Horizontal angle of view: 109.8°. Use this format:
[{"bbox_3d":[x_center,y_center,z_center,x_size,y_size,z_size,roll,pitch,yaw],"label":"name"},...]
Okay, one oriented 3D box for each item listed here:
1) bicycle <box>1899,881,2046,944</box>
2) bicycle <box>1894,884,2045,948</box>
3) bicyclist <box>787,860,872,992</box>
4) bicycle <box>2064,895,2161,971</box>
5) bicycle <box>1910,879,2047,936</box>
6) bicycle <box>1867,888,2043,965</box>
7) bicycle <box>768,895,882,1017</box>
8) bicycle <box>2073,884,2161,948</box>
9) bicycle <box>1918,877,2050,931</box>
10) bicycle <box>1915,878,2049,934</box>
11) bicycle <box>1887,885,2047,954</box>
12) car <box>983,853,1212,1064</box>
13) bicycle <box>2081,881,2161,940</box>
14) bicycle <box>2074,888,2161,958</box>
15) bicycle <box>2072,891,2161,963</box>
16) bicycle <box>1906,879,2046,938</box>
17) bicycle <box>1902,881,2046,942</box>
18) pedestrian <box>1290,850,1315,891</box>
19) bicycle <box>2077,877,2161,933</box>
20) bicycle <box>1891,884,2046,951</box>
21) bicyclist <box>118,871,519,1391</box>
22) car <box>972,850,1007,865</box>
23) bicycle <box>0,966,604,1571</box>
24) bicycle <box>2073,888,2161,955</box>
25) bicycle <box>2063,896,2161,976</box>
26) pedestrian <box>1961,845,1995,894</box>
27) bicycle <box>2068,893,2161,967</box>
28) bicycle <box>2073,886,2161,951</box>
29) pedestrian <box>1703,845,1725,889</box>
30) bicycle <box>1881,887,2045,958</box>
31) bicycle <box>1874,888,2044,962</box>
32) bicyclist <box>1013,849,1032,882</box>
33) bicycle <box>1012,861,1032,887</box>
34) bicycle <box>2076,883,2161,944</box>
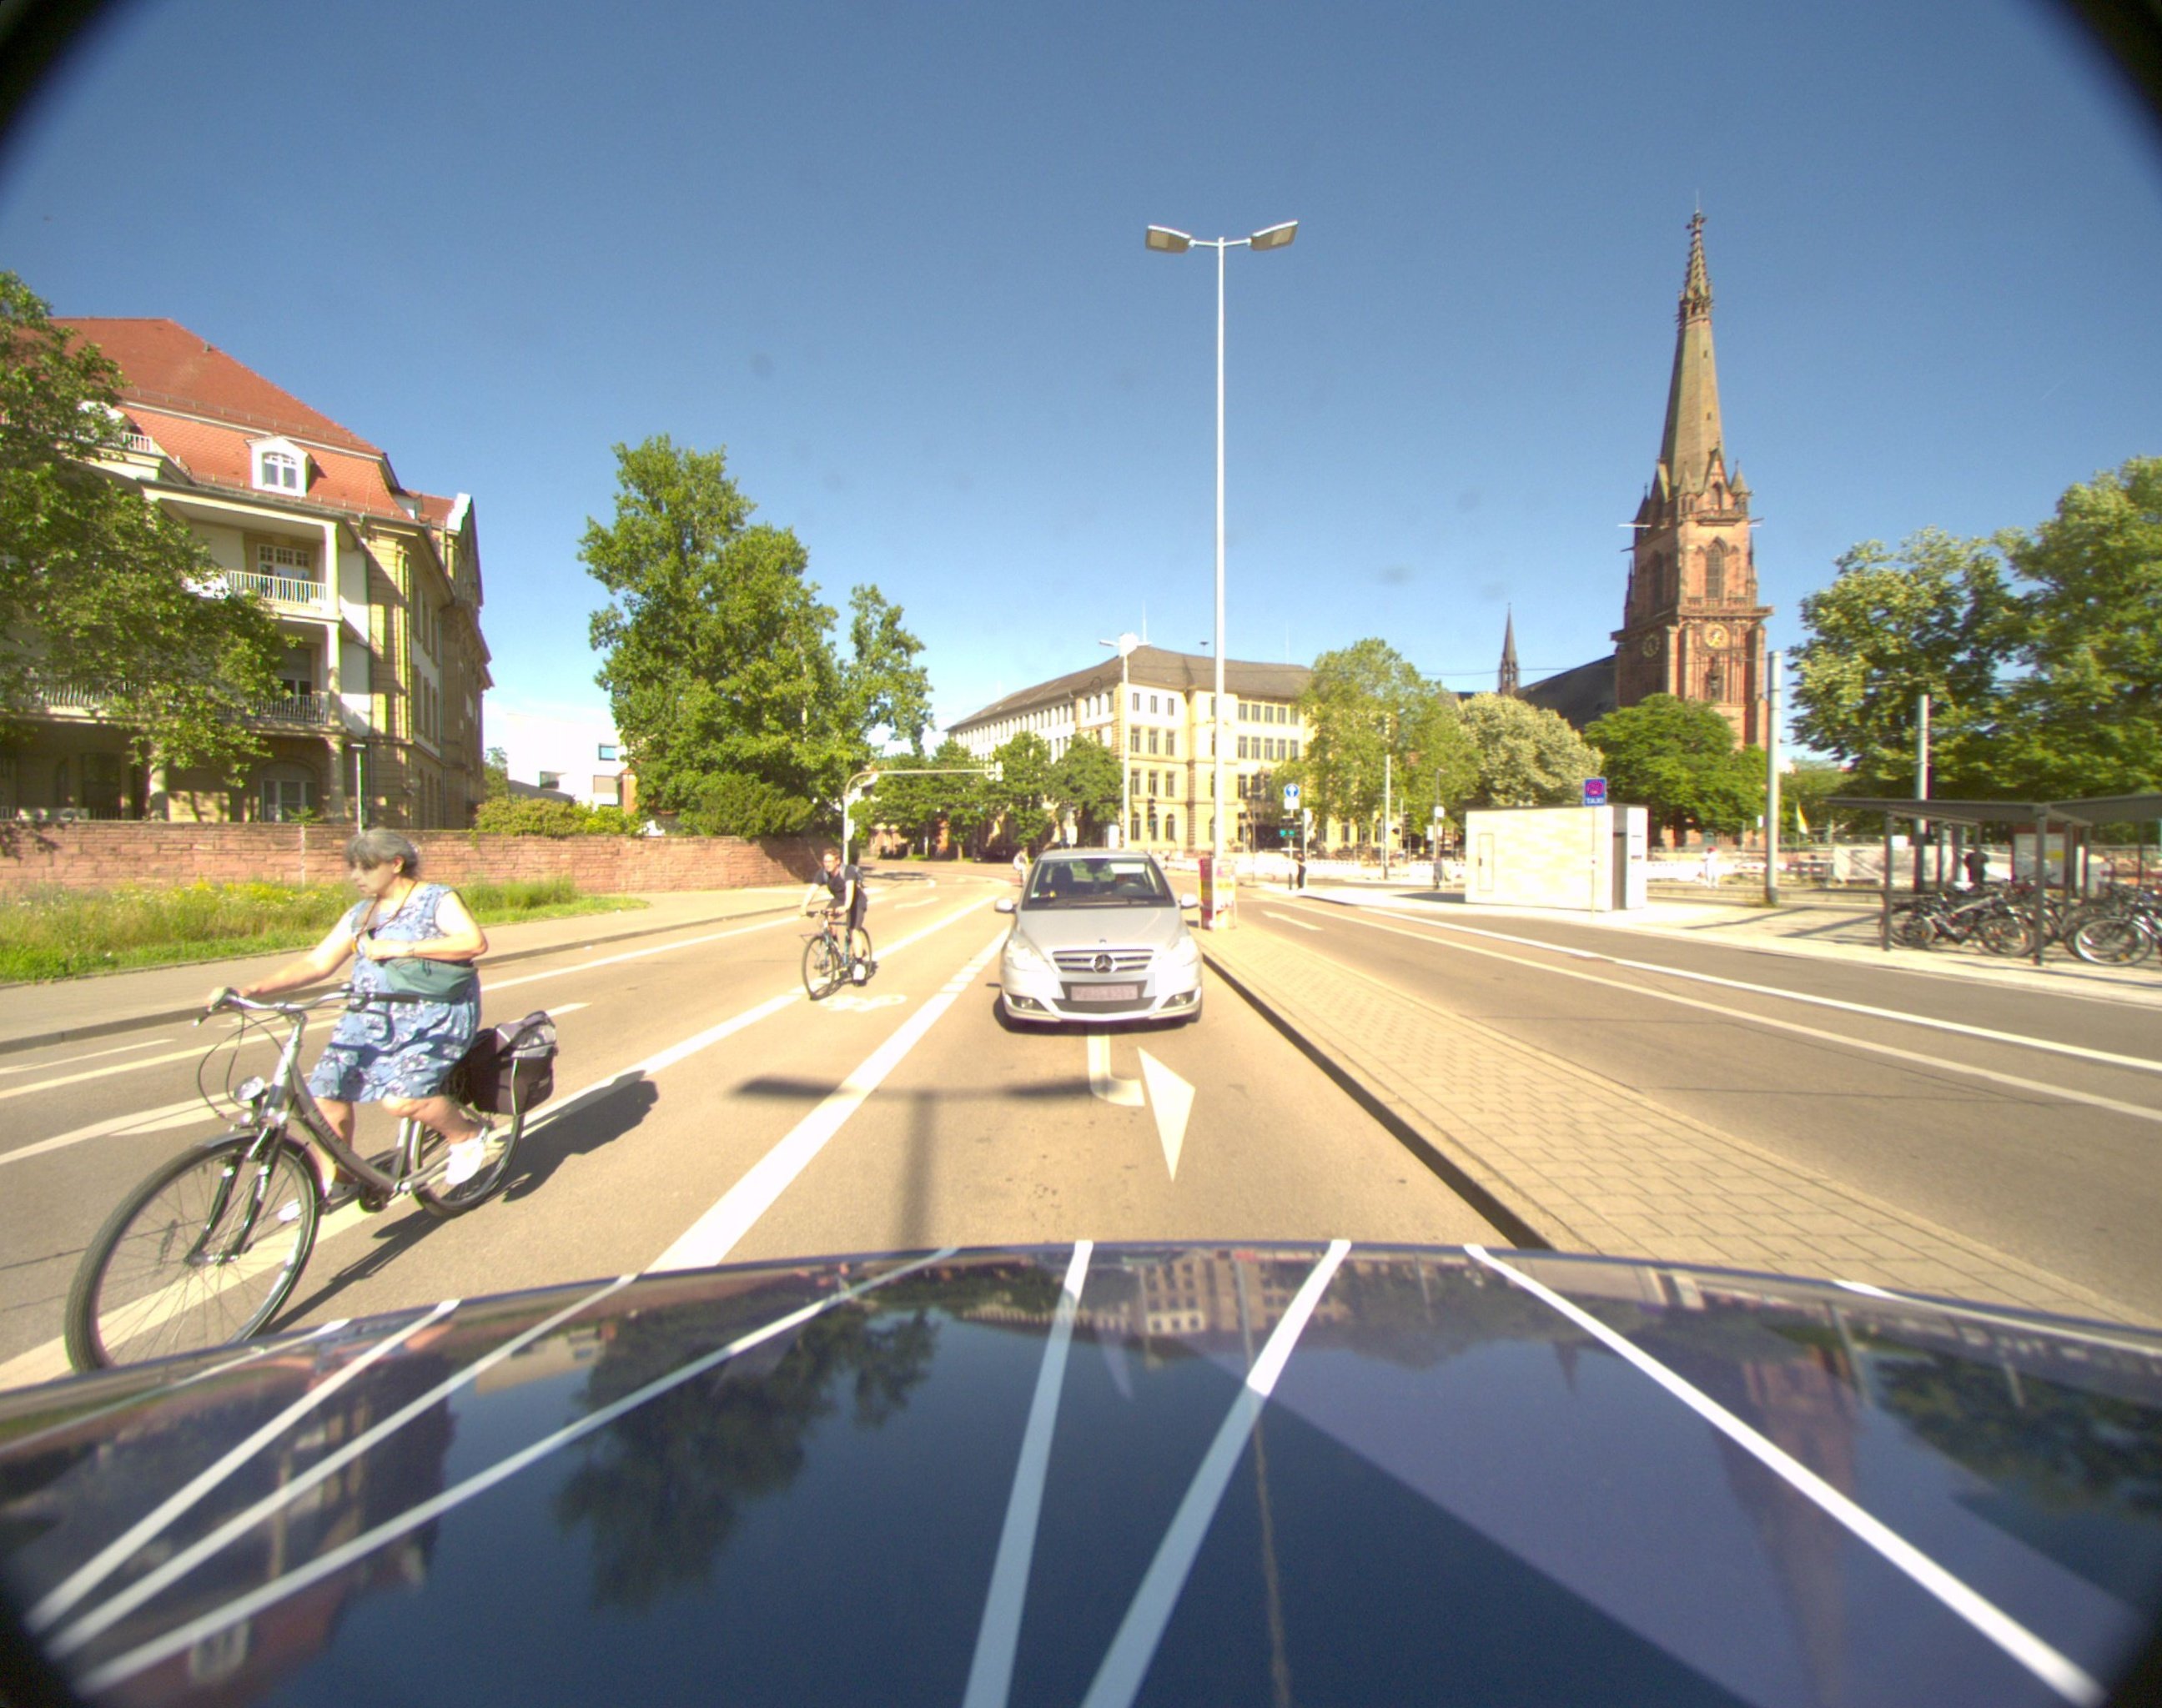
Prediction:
[{"bbox_3d":[17.133,1.091,14.652,0.569,1.032,1.783,0,1,-37],"label":"bicycle"},{"bbox_3d":[16.641,1.129,14.276,0.569,1.032,1.783,0,1,-37],"label":"bicycle"},{"bbox_3d":[-2.903,0.795,8.854,0.643,1.436,0.953,-1,1,0],"label":"bicyclist"},{"bbox_3d":[15.704,1.168,10.994,0.569,1.032,1.783,0,1,-37],"label":"bicycle"},{"bbox_3d":[18.610,1.085,15.798,0.569,1.032,1.783,0,1,-37],"label":"bicycle"},{"bbox_3d":[13.991,1.125,12.218,0.569,1.032,1.783,0,1,-37],"label":"bicycle"},{"bbox_3d":[-2.900,1.110,8.812,0.642,1.158,1.870,-1,0,0],"label":"bicycle"},{"bbox_3d":[18.714,1.098,13.188,0.569,1.032,1.783,0,1,-37],"label":"bicycle"},{"bbox_3d":[19.573,1.062,16.512,0.569,1.032,1.783,0,1,-37],"label":"bicycle"},{"bbox_3d":[19.093,1.072,16.145,0.569,1.032,1.783,0,1,-37],"label":"bicycle"},{"bbox_3d":[15.668,1.121,13.488,0.569,1.032,1.783,0,1,-37],"label":"bicycle"},{"bbox_3d":[0.172,0.821,8.256,1.770,1.584,4.638,-1,1,1],"label":"car"},{"bbox_3d":[20.310,1.076,14.293,0.569,1.032,1.783,0,1,-37],"label":"bicycle"},{"bbox_3d":[17.242,1.119,12.050,0.569,1.032,1.783,0,1,-37],"label":"bicycle"},{"bbox_3d":[16.749,1.151,11.701,0.569,1.032,1.783,0,1,-37],"label":"bicycle"},{"bbox_3d":[18.128,1.067,15.433,0.569,1.032,1.783,0,1,-37],"label":"bicycle"},{"bbox_3d":[17.656,1.108,15.066,0.569,1.032,1.783,0,1,-37],"label":"bicycle"},{"bbox_3d":[9.174,0.667,31.479,0.789,1.671,0.648,-2,1,2],"label":"pedestrian"},{"bbox_3d":[21.286,1.021,15.092,0.569,1.032,1.783,0,1,-37],"label":"bicycle"},{"bbox_3d":[16.164,1.120,13.882,0.569,1.032,1.783,0,1,-37],"label":"bicycle"},{"bbox_3d":[-2.734,0.908,2.833,0.643,1.653,0.776,-1,2,0],"label":"bicyclist"},{"bbox_3d":[-11.171,0.444,93.006,1.994,1.805,3.809,1,1,43],"label":"car"},{"bbox_3d":[-2.728,1.151,2.813,0.642,1.158,1.967,-1,1,0],"label":"bicycle"},{"bbox_3d":[17.725,1.124,12.433,0.569,1.032,1.783,0,1,-37],"label":"bicycle"},{"bbox_3d":[15.187,1.169,10.597,0.569,1.032,1.783,0,1,-37],"label":"bicycle"},{"bbox_3d":[30.874,0.525,26.158,0.567,1.645,0.518,-2,1,1],"label":"pedestrian"},{"bbox_3d":[16.240,1.161,11.356,0.569,1.032,1.783,0,1,-37],"label":"bicycle"},{"bbox_3d":[18.206,1.106,12.797,0.569,1.032,1.783,0,1,-37],"label":"bicycle"},{"bbox_3d":[25.038,0.514,30.074,0.537,1.712,0.684,-1,-4,30],"label":"pedestrian"},{"bbox_3d":[15.116,1.133,13.073,0.569,1.032,1.783,0,1,-37],"label":"bicycle"},{"bbox_3d":[14.515,1.139,12.612,0.569,1.032,1.783,0,1,-37],"label":"bicycle"},{"bbox_3d":[-2.806,0.535,36.421,0.778,1.543,0.919,-1,1,0],"label":"bicyclist"},{"bbox_3d":[-2.799,0.949,36.378,0.778,1.158,1.968,-1,1,1],"label":"bicycle"},{"bbox_3d":[19.215,1.075,13.527,0.569,1.032,1.783,0,1,-37],"label":"bicycle"}]
